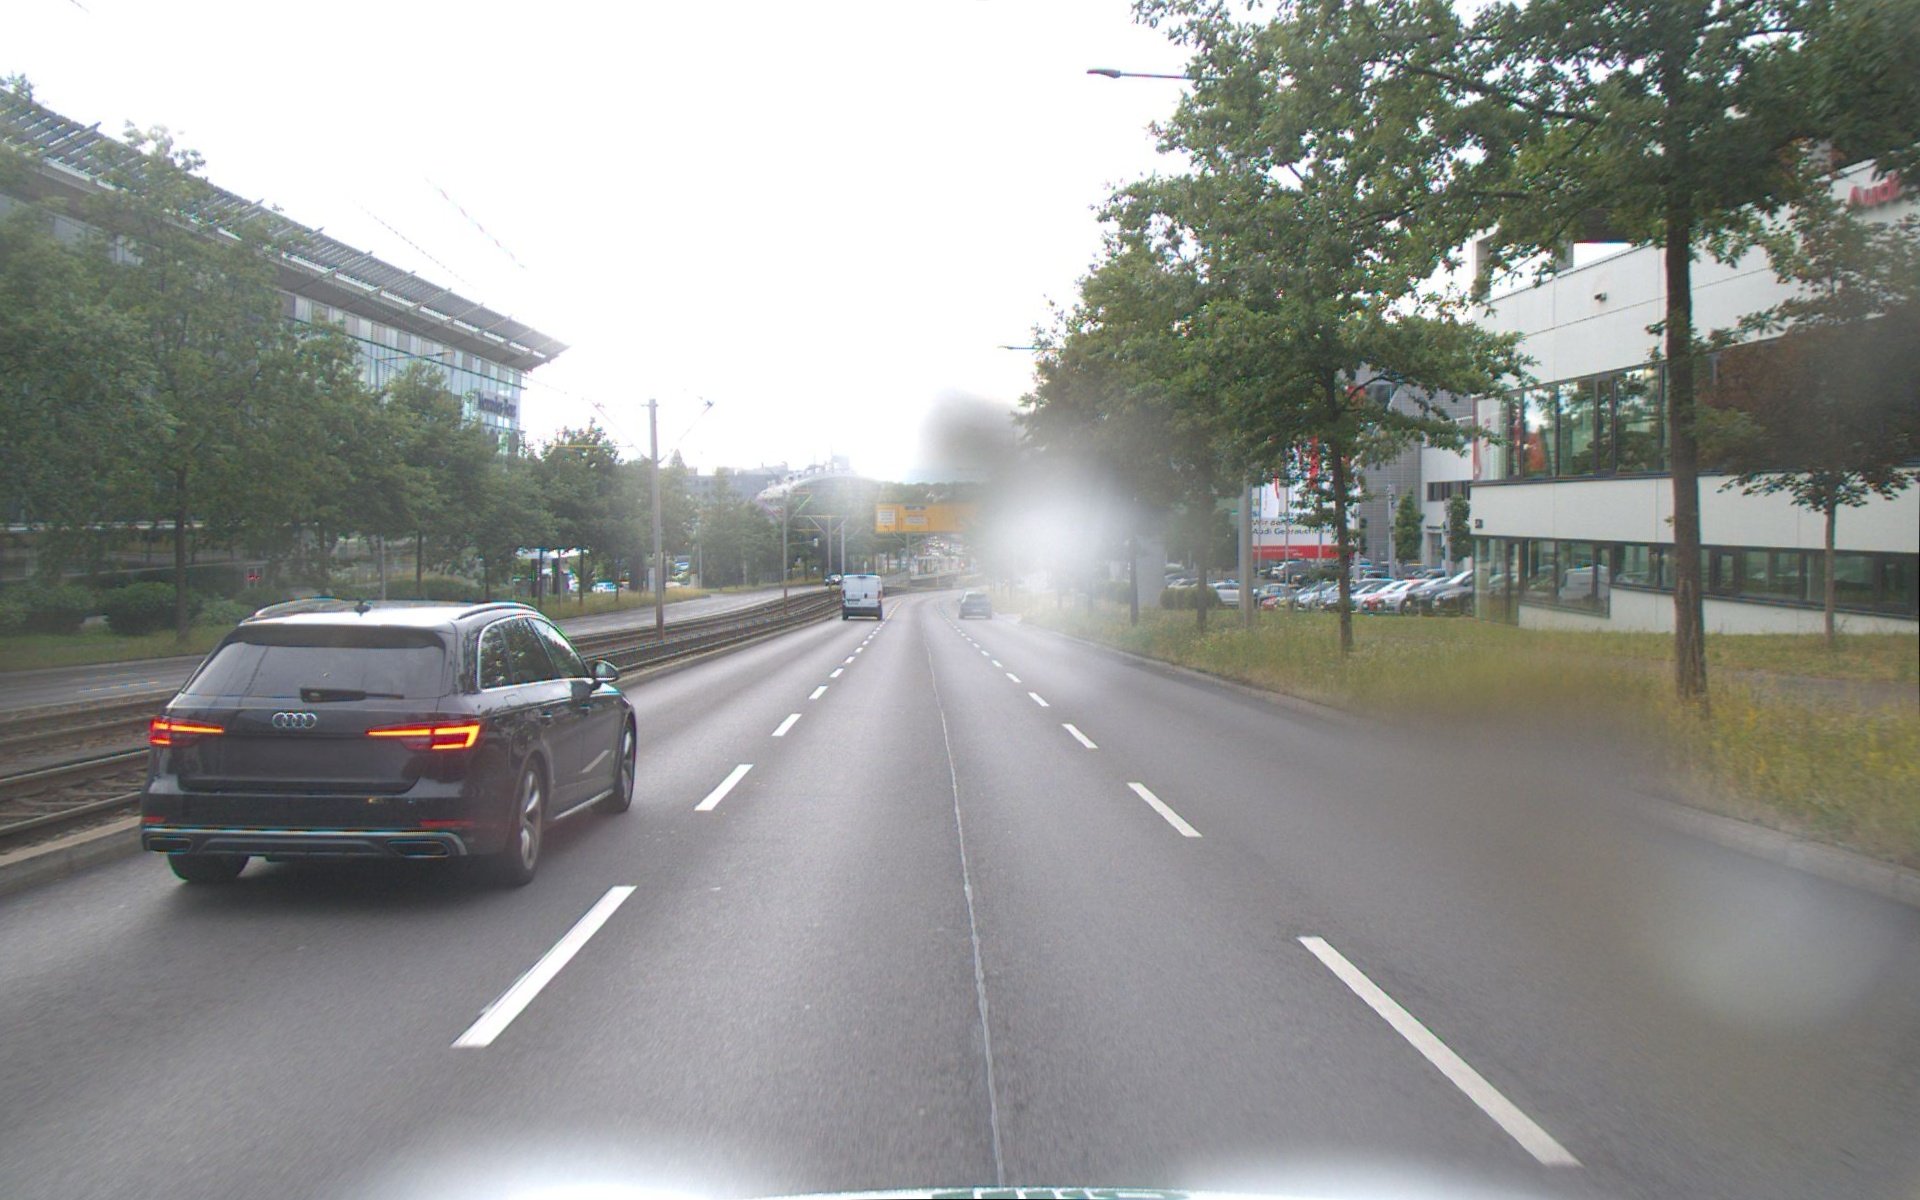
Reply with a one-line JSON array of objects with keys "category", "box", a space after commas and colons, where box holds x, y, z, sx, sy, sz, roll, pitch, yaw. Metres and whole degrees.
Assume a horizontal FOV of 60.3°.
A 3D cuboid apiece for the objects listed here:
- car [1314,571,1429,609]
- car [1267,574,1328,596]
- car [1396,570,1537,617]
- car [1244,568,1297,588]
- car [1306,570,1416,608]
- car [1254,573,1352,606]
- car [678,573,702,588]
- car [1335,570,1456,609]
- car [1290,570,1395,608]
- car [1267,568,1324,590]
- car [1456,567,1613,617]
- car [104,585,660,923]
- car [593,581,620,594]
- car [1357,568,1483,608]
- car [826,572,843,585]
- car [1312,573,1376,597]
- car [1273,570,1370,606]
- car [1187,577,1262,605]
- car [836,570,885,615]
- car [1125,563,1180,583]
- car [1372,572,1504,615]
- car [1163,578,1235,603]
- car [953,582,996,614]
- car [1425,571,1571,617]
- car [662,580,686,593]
[{"category": "car", "box": [17.496, -0.412, 70.436, 4.372, 1.481, 1.930, -2, 0, -3]}, {"category": "car", "box": [24.745, -1.110, 121.257, 4.023, 1.601, 1.825, 0, 1, -3]}, {"category": "car", "box": [17.846, -0.228, 58.440, 4.309, 1.527, 2.039, -1, 0, -2]}, {"category": "car", "box": [25.212, -1.779, 134.366, 4.023, 1.601, 1.692, 0, 1, -3]}, {"category": "car", "box": [17.733, -0.495, 73.246, 4.372, 1.555, 1.930, -1, 0, -3]}, {"category": "car", "box": [17.015, -0.514, 82.149, 4.376, 1.578, 1.928, -1, 0, -7]}, {"category": "car", "box": [-32.017, -2.283, 196.485, 1.952, 1.679, 4.002, 1, 0, 3]}, {"category": "car", "box": [17.725, -0.418, 67.411, 4.372, 1.481, 1.930, -1, 0, -3]}, {"category": "car", "box": [17.604, -0.501, 76.225, 4.372, 1.578, 1.930, -2, 0, -3]}, {"category": "car", "box": [25.648, -1.611, 126.521, 4.023, 1.601, 1.692, 0, 1, -3]}, {"category": "car", "box": [18.265, -0.252, 52.669, 4.309, 1.507, 1.930, -1, 0, -3]}, {"category": "car", "box": [-2.985, 0.668, 9.668, 1.728, 1.489, 4.625, 1, 0, -2]}, {"category": "car", "box": [-44.425, -1.598, 207.803, 1.975, 1.536, 3.955, 1, 0, -33]}, {"category": "car", "box": [17.845, -0.456, 64.247, 4.309, 1.372, 1.930, -2, -1, -3]}, {"category": "car", "box": [-16.755, -2.925, 220.935, 1.844, 1.547, 4.404, -3, 1, 1]}, {"category": "car", "box": [26.449, -1.026, 113.958, 4.023, 1.601, 1.691, -1, 0, -3]}, {"category": "car", "box": [17.267, -0.558, 79.082, 4.192, 1.621, 1.825, -1, 0, -4]}, {"category": "car", "box": [15.779, -0.527, 98.702, 4.031, 1.622, 1.944, 0, -1, -10]}, {"category": "car", "box": [-5.168, -0.369, 85.673, 2.462, 2.215, 5.145, 1, 0, -4]}, {"category": "car", "box": [15.565, -2.212, 133.920, 4.174, 1.601, 1.692, 0, 1, -3]}, {"category": "car", "box": [17.646, -0.225, 61.235, 4.309, 1.452, 1.890, -1, 0, -2]}, {"category": "car", "box": [15.665, -0.632, 108.533, 4.429, 1.622, 1.691, 0, 0, -3]}, {"category": "car", "box": [0.770, -0.101, 90.528, 1.981, 1.651, 3.997, 1, 0, -4]}, {"category": "car", "box": [17.904, -0.187, 55.125, 4.234, 1.402, 1.835, -1, 0, -4]}, {"category": "car", "box": [-36.607, -1.712, 211.377, 1.970, 1.536, 3.965, 1, 0, -27]}]
